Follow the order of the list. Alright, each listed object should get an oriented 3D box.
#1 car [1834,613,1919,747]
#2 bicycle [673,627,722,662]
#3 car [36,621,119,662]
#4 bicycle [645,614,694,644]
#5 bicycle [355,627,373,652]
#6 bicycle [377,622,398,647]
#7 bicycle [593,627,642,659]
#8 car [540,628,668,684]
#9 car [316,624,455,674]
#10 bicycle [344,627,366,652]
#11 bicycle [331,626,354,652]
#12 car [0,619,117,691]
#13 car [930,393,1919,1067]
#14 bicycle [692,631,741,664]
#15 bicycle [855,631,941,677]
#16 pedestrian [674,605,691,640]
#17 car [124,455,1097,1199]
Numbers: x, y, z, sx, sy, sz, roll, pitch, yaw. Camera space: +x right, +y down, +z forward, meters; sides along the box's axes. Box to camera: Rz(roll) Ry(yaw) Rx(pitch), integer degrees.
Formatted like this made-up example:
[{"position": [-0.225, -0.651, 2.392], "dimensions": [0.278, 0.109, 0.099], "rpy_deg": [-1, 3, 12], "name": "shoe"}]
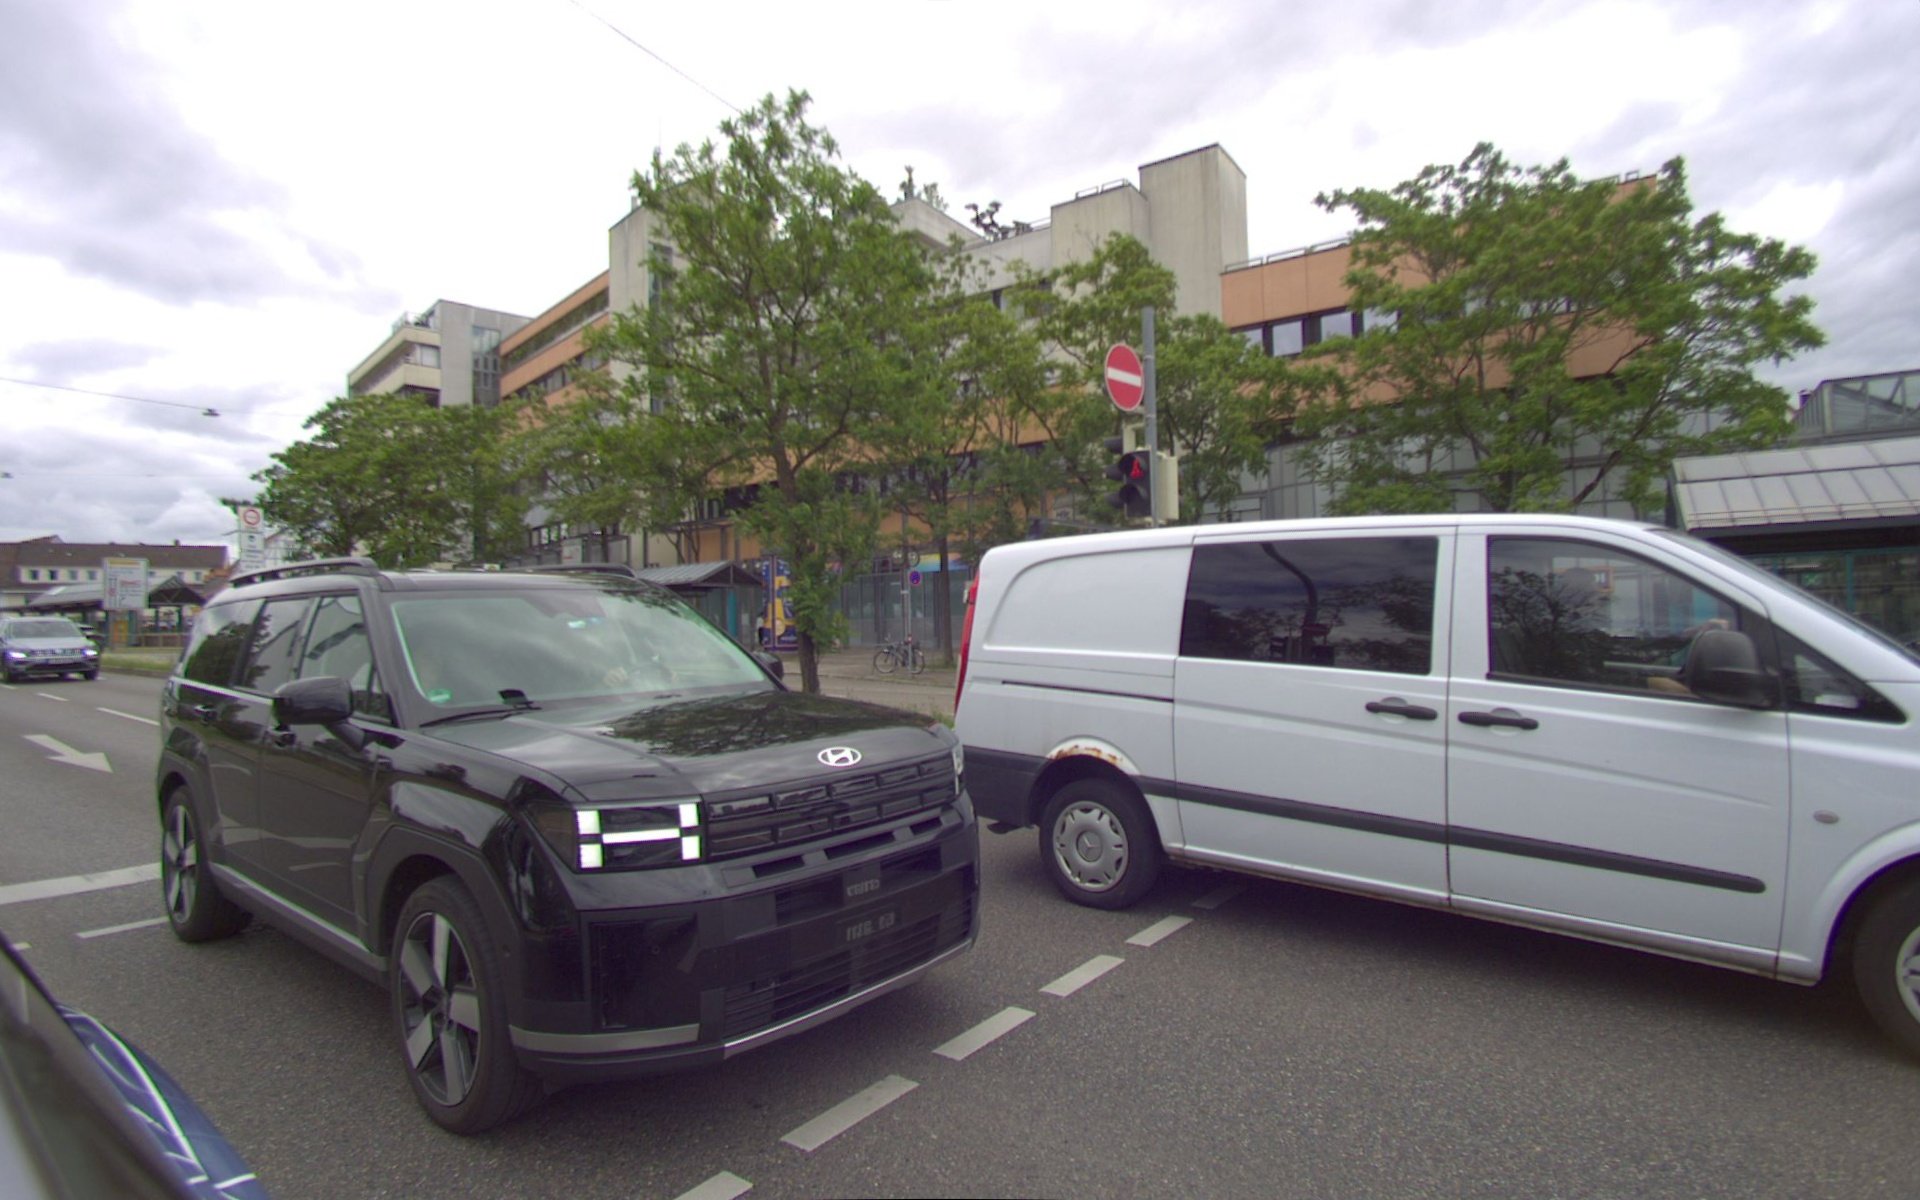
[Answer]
[{"position": [13.117, 0.939, 11.642], "dimensions": [4.500, 1.586, 1.716], "rpy_deg": [-1, -2, 38], "name": "car"}, {"position": [-10.094, 1.703, 38.995], "dimensions": [0.707, 1.162, 2.055], "rpy_deg": [-1, 2, 24], "name": "bicycle"}, {"position": [-35.913, 1.640, 41.153], "dimensions": [4.515, 1.586, 1.972], "rpy_deg": [-1, -2, 42], "name": "car"}, {"position": [-11.381, 1.125, 39.660], "dimensions": [0.707, 1.162, 2.055], "rpy_deg": [-1, -2, 24], "name": "bicycle"}, {"position": [-31.087, 2.049, 52.787], "dimensions": [0.425, 1.263, 1.475], "rpy_deg": [0, -2, -15], "name": "bicycle"}, {"position": [-29.495, 1.767, 52.162], "dimensions": [0.616, 1.263, 1.689], "rpy_deg": [0, -2, -18], "name": "bicycle"}, {"position": [-14.002, 1.760, 41.425], "dimensions": [0.707, 1.162, 2.055], "rpy_deg": [-1, 1, 24], "name": "bicycle"}, {"position": [-10.611, 1.616, 30.041], "dimensions": [3.995, 1.529, 1.731], "rpy_deg": [-1, -1, 38], "name": "car"}, {"position": [-17.850, 1.491, 31.360], "dimensions": [5.001, 1.408, 1.797], "rpy_deg": [-1, -3, 36], "name": "car"}, {"position": [-31.757, 2.077, 53.146], "dimensions": [0.616, 1.263, 1.689], "rpy_deg": [0, -2, -17], "name": "bicycle"}, {"position": [-31.050, 1.937, 50.911], "dimensions": [0.616, 1.263, 1.689], "rpy_deg": [0, -2, -18], "name": "bicycle"}, {"position": [-24.072, 1.387, 26.221], "dimensions": [4.374, 1.662, 1.980], "rpy_deg": [-2, 0, 29], "name": "car"}, {"position": [2.371, 0.444, 4.690], "dimensions": [5.070, 2.029, 1.855], "rpy_deg": [-2, -3, 39], "name": "car"}, {"position": [-9.247, 1.802, 38.533], "dimensions": [0.707, 1.162, 2.055], "rpy_deg": [-1, -1, 24], "name": "bicycle"}, {"position": [-1.865, 1.581, 30.171], "dimensions": [2.420, 1.280, 1.042], "rpy_deg": [-1, 0, 36], "name": "bicycle"}, {"position": [-13.334, 1.101, 48.648], "dimensions": [0.675, 1.656, 0.526], "rpy_deg": [-1, -2, 40], "name": "pedestrian"}, {"position": [-1.907, 0.624, 4.417], "dimensions": [4.675, 1.765, 1.903], "rpy_deg": [-2, -1, 40], "name": "car"}]
